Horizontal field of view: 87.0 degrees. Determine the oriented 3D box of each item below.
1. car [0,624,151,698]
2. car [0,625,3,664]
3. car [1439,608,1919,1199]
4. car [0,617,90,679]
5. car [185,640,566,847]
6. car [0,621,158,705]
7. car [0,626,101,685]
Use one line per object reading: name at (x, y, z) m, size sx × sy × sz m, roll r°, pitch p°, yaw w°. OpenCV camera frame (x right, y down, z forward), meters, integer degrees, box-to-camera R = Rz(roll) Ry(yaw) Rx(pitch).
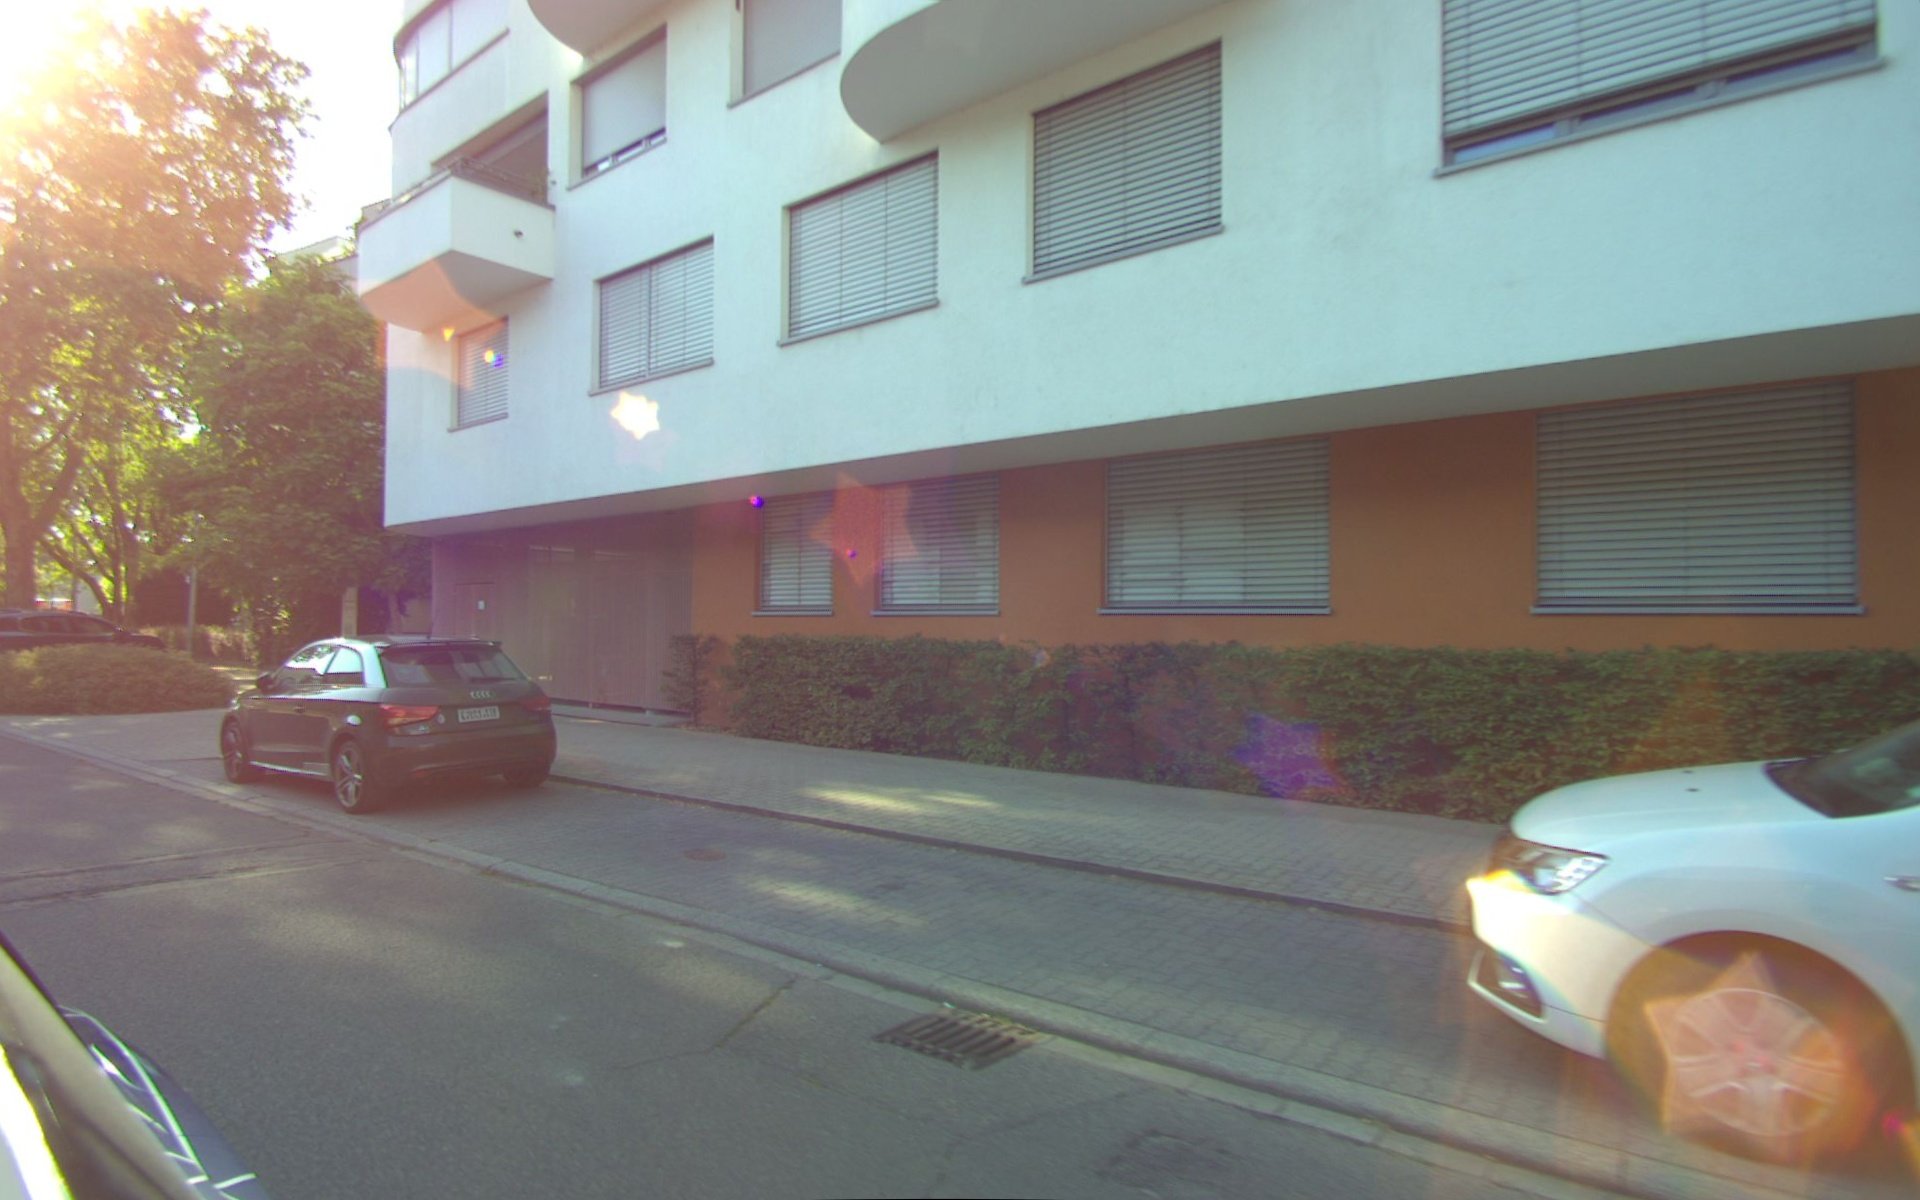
car at (-22.271, 1.429, 24.400) m, size 1.759 × 1.652 × 4.123 m, roll 0°, pitch -2°, yaw 12°
car at (-43.229, 1.898, 42.863) m, size 1.632 × 1.674 × 3.638 m, roll 0°, pitch -2°, yaw 10°
car at (3.934, 0.824, 2.687) m, size 4.609 × 1.599 × 1.842 m, roll 0°, pitch -1°, yaw 34°
car at (-28.775, 1.408, 29.981) m, size 1.887 × 1.788 × 4.251 m, roll 0°, pitch -2°, yaw 13°
car at (-5.481, 1.143, 9.355) m, size 3.763 × 1.444 × 1.660 m, roll 0°, pitch -1°, yaw 36°
car at (-19.870, 1.299, 21.806) m, size 1.681 × 1.675 × 3.949 m, roll 0°, pitch -2°, yaw 8°
car at (-26.641, 1.535, 28.369) m, size 1.682 × 1.572 × 3.637 m, roll 0°, pitch -2°, yaw 11°
